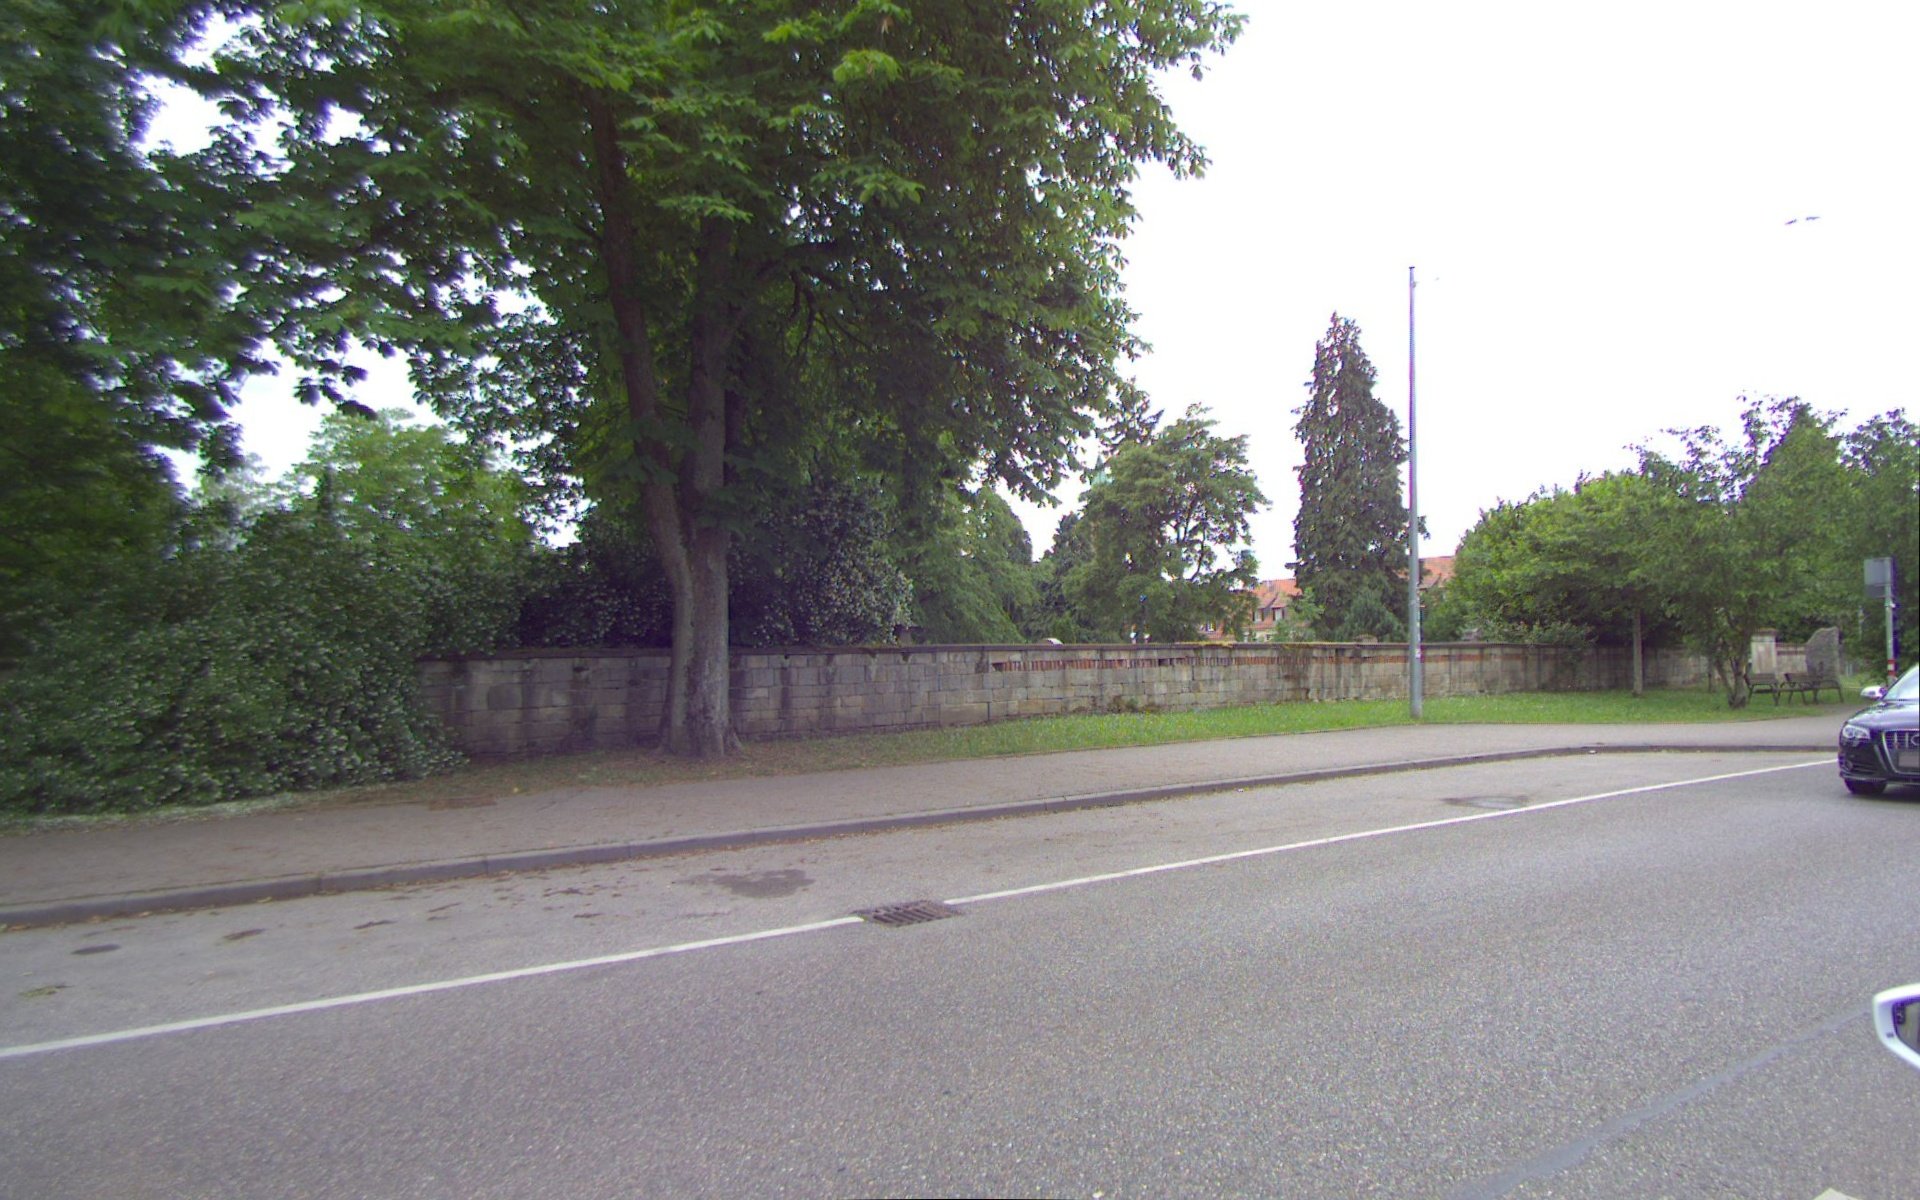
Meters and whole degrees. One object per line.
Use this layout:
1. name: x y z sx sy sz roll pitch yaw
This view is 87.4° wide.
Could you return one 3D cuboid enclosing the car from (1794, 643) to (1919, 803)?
1. car: 10.635 1.178 10.312 4.062 1.472 1.851 1 -5 -30
